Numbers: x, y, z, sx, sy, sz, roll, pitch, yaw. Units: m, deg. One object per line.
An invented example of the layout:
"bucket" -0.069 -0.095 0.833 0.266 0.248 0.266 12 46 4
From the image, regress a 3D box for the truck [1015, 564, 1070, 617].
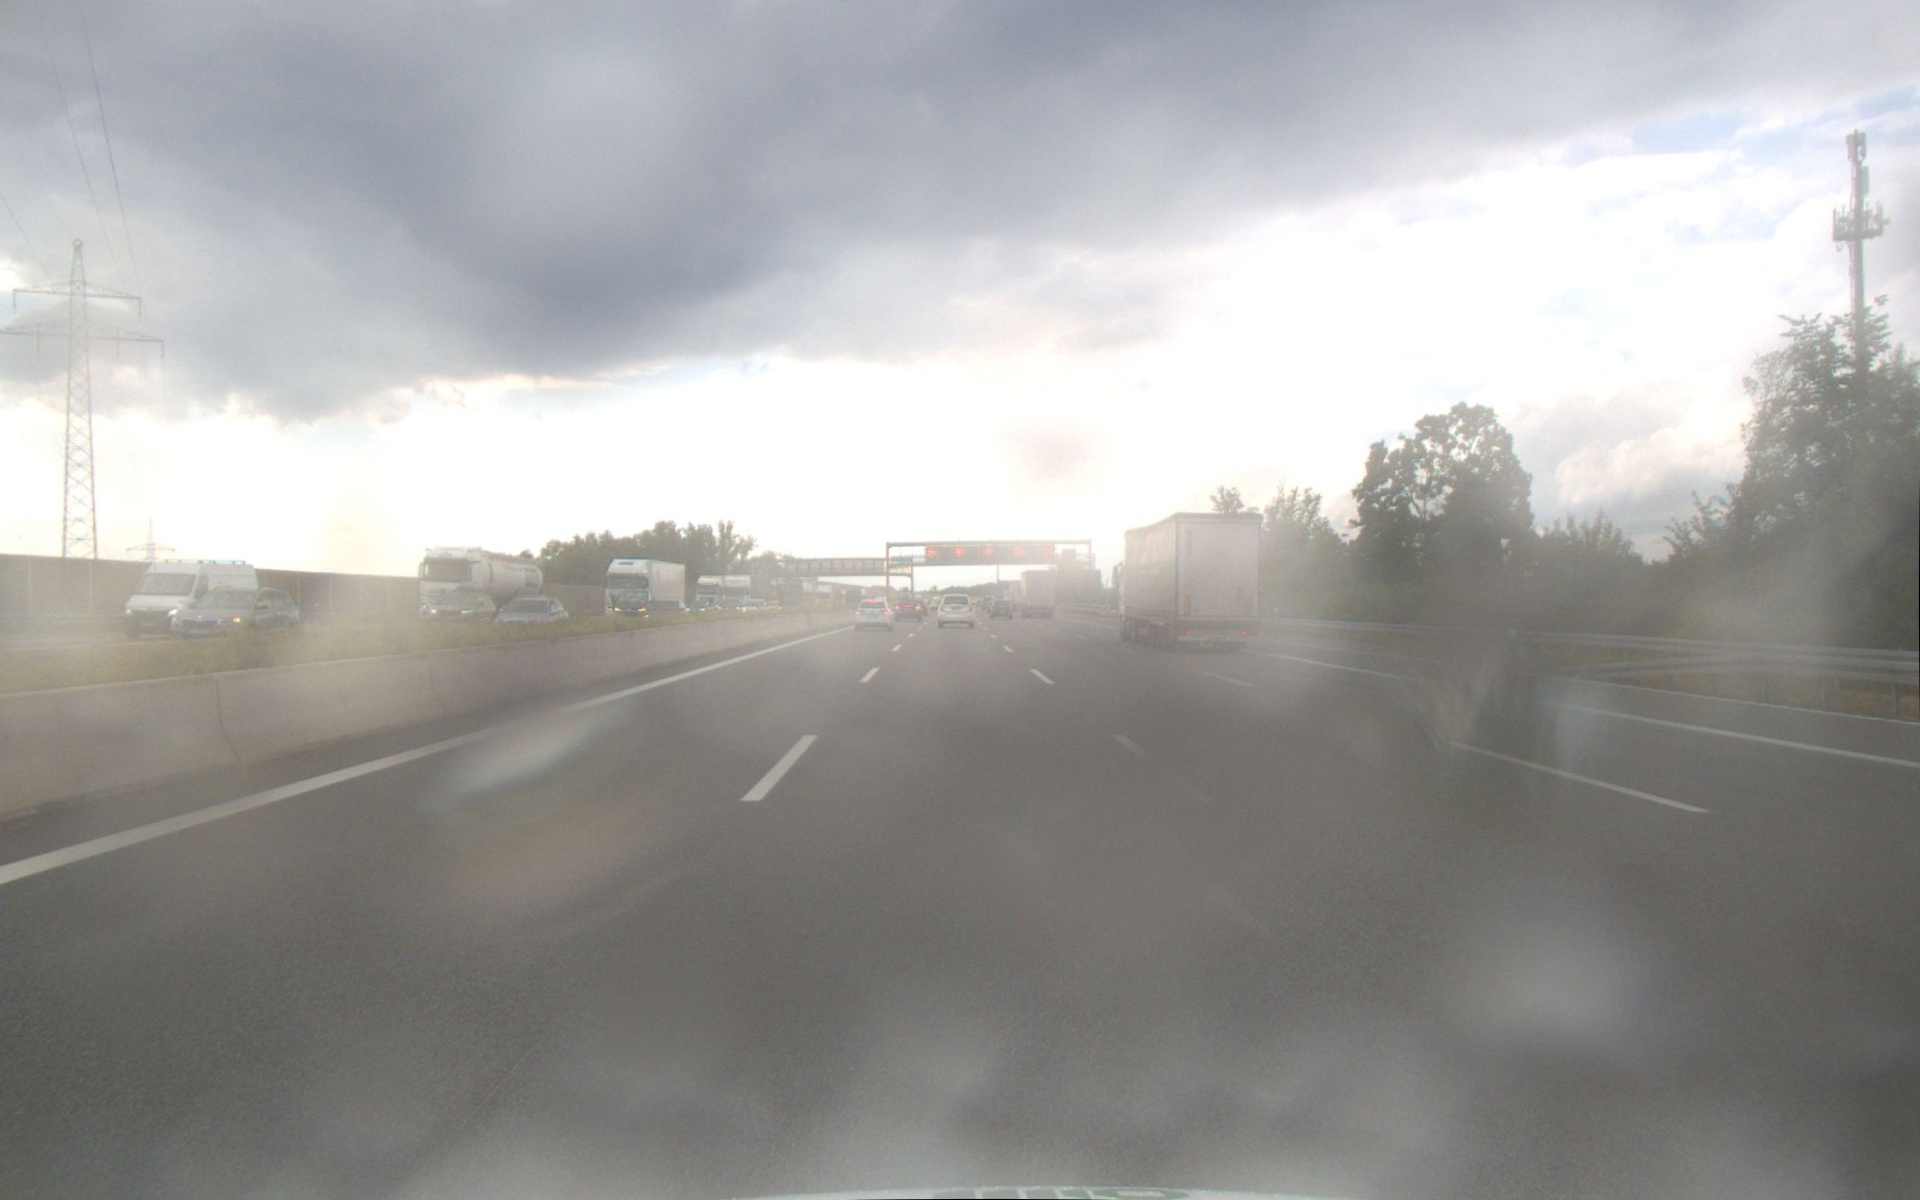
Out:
"truck" 7.286 -0.818 147.560 4.095 4.363 12.611 1 0 -1

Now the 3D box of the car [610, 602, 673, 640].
"car" -17.926 1.156 93.399 2.233 2.002 6.087 1 0 1

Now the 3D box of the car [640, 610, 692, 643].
"car" -13.977 1.244 78.865 1.751 1.479 4.563 1 0 -2

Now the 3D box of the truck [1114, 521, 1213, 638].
"truck" 7.448 -0.744 61.352 2.900 4.090 6.589 0 0 1

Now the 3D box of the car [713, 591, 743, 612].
"car" -17.736 0.127 126.684 1.751 1.589 4.563 1 0 -2

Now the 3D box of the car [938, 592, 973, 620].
"car" -0.264 0.303 87.873 1.736 1.466 4.054 0 0 -1

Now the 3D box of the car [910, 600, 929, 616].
"car" -3.686 0.720 150.182 1.737 1.466 4.054 0 0 -2

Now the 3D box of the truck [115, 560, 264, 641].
"truck" -25.380 0.031 54.817 2.059 2.494 6.262 1 0 -1

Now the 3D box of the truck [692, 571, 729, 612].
"truck" -25.991 -0.884 172.608 2.841 4.188 6.621 1 0 -1

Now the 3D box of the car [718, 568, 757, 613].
"car" -21.603 -0.874 160.728 2.922 4.222 6.041 1 0 -1

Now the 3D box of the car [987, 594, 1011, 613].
"car" 3.114 0.245 132.198 1.798 1.466 4.055 0 0 0

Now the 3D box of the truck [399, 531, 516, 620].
"truck" -26.203 -1.210 86.698 3.586 4.394 8.236 1 0 -1

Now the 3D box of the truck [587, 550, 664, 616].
"truck" -21.906 -1.086 108.683 3.585 4.118 6.524 1 0 0

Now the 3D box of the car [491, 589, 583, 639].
"car" -13.707 0.439 53.884 1.953 1.553 4.739 0 0 -2

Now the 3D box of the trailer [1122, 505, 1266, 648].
"trailer" 7.406 -0.695 54.551 2.900 4.090 14.119 0 0 1

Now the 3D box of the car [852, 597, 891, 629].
"car" -4.162 0.582 78.147 1.736 1.466 3.873 0 0 -1

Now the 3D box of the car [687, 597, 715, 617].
"car" -21.774 0.550 139.233 1.751 1.619 4.384 1 0 -1

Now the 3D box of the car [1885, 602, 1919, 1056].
"car" 3.846 0.747 3.977 1.417 1.466 3.163 1 0 -1

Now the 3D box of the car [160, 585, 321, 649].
"car" -17.840 0.404 41.286 1.925 1.479 4.941 1 0 -2

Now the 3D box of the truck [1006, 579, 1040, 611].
"truck" 8.577 -0.685 226.781 4.157 4.249 11.989 1 0 0

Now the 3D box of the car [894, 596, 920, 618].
"car" -3.566 0.477 112.165 1.736 1.466 4.054 0 0 -1

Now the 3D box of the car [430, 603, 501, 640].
"car" -21.158 0.906 70.883 1.751 1.495 4.563 1 0 -2

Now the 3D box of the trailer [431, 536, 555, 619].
"trailer" -26.298 -1.183 94.006 3.586 4.311 12.465 1 0 -1

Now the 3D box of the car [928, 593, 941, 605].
"car" -3.366 -0.152 218.734 1.736 1.466 4.055 0 0 0
